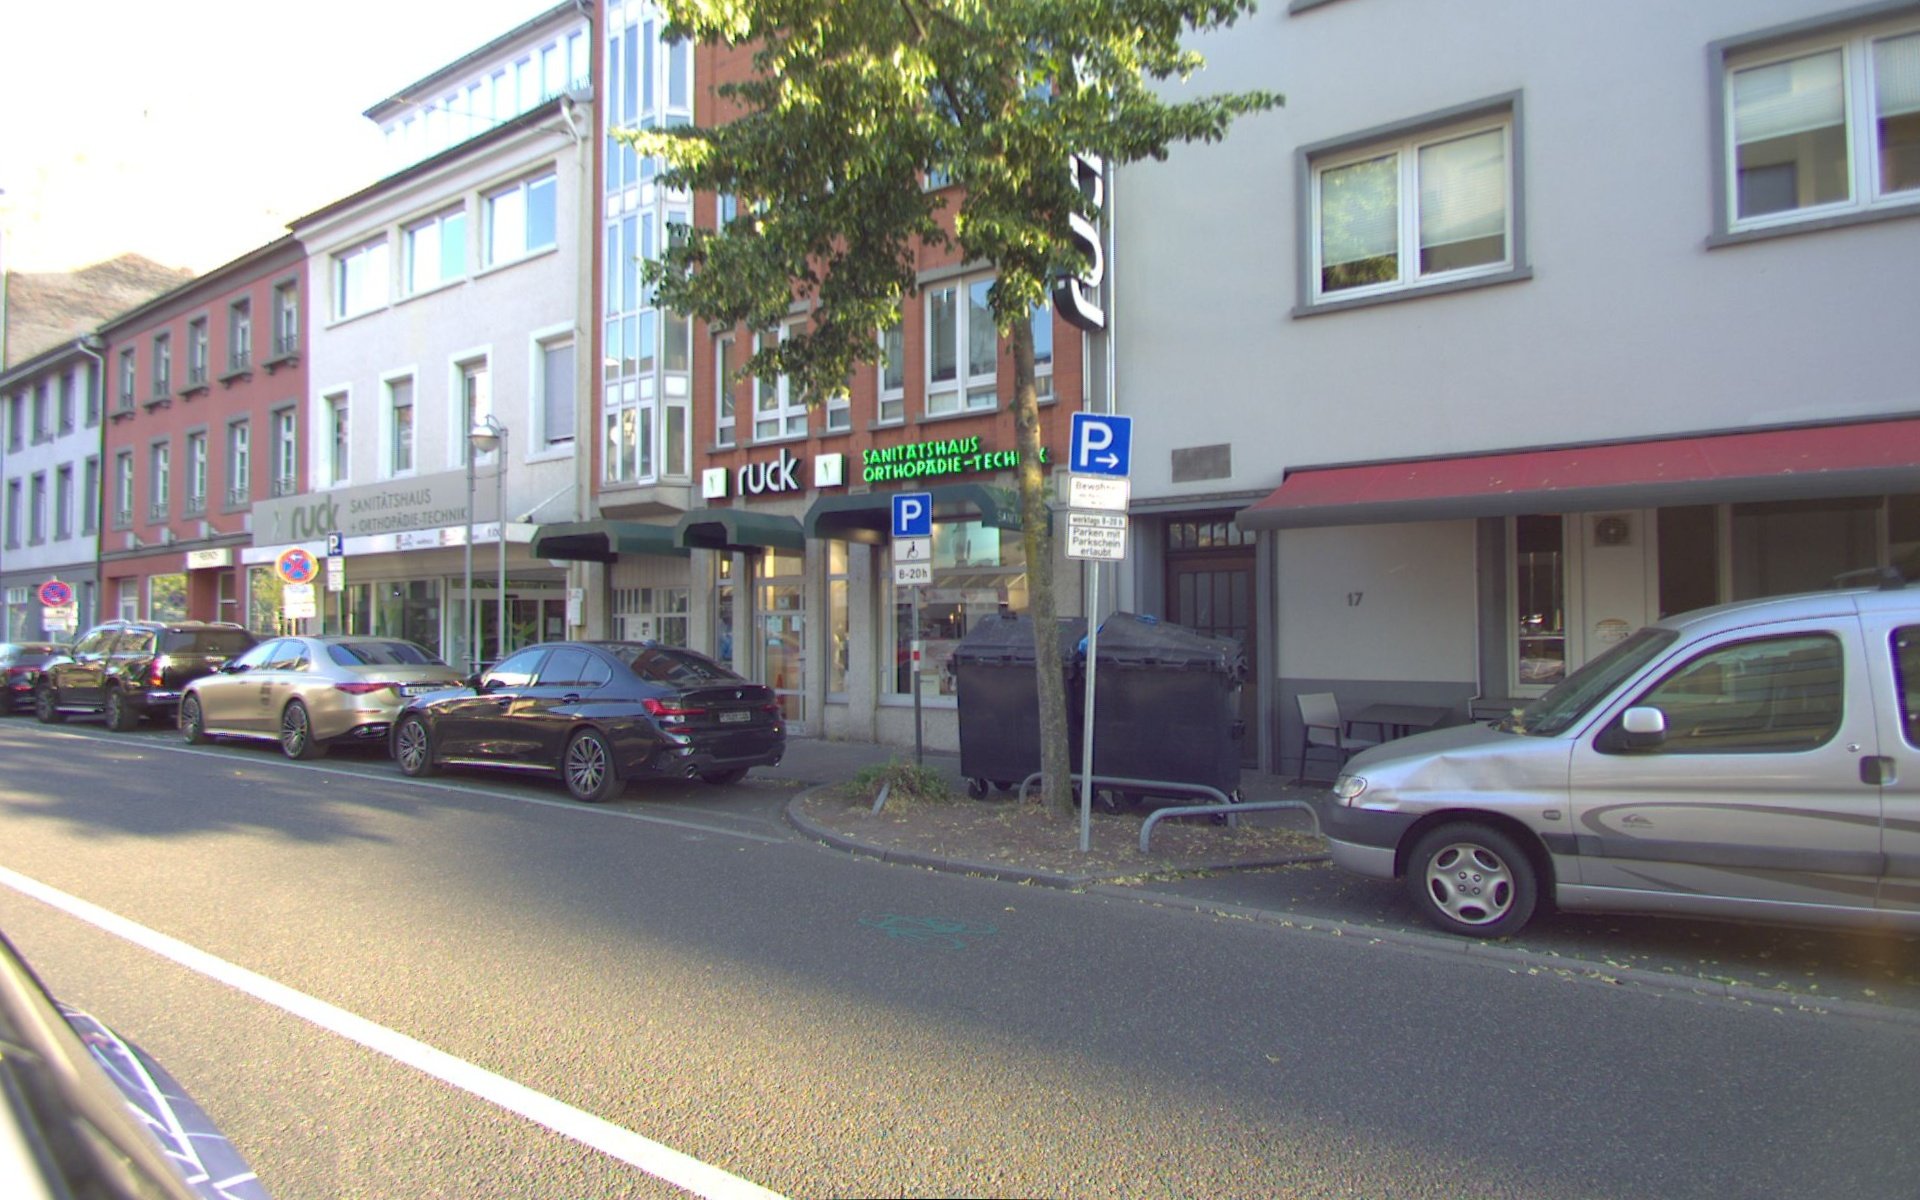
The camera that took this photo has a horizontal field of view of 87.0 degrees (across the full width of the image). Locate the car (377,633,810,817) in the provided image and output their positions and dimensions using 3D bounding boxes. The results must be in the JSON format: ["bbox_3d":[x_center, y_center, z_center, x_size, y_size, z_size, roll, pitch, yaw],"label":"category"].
[{"bbox_3d":[-3.786,1.117,10.173,4.528,1.484,1.706,-2,-5,33],"label":"car"}]

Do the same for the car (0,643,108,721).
[{"bbox_3d":[-19.294,1.638,20.689,4.001,1.448,1.688,-2,-5,32],"label":"car"}]

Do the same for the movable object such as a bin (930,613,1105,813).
[{"bbox_3d":[0.514,0.943,8.998,1.331,1.632,0.775,-1,-1,30],"label":"movable object such as a bin"}]

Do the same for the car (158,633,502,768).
[{"bbox_3d":[-8.467,1.231,13.445,5.094,1.484,1.977,-2,-4,34],"label":"car"}]

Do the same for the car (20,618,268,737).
[{"bbox_3d":[-14.031,1.279,17.324,4.921,1.793,1.708,-2,-4,31],"label":"car"}]

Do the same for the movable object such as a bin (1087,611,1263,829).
[{"bbox_3d":[1.763,0.921,8.284,1.203,1.632,0.775,-1,0,30],"label":"movable object such as a bin"}]

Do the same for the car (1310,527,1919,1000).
[{"bbox_3d":[3.979,0.705,4.987,4.038,1.902,1.657,-1,-4,31],"label":"car"}]
